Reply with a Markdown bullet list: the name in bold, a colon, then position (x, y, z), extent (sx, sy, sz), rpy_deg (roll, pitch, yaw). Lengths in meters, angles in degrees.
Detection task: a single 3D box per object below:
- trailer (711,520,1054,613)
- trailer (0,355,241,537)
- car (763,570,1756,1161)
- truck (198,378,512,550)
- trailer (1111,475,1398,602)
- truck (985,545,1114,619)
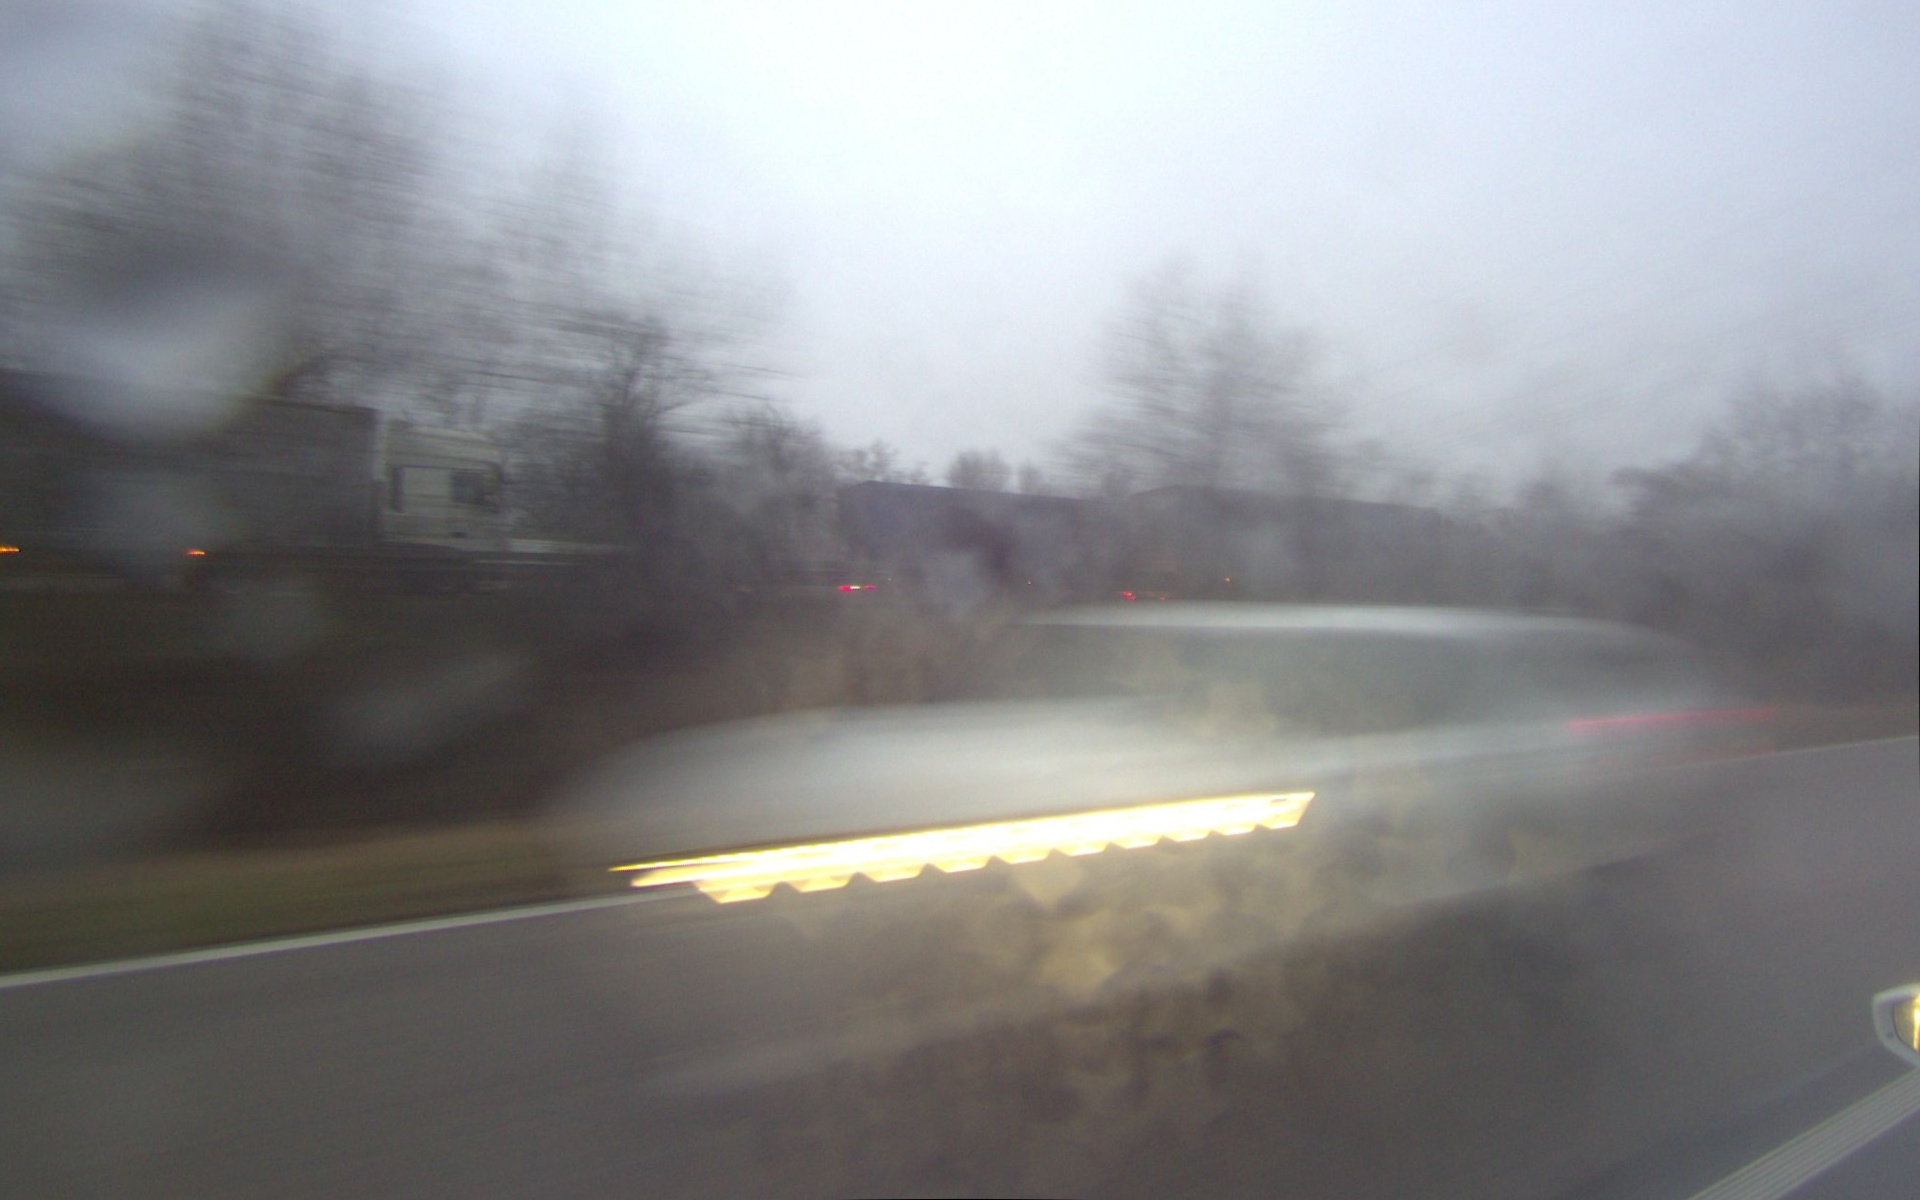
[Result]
- **trailer**: position (-2.247, -0.931, 33.142), extent (11.366, 2.456, 2.497), rpy_deg (2, -2, -30)
- **trailer**: position (-19.668, -2.958, 17.820), extent (10.956, 2.929, 2.424), rpy_deg (2, -1, -31)
- **car**: position (1.510, 0.742, 4.534), extent (4.356, 1.557, 1.799), rpy_deg (2, 0, -30)
- **truck**: position (-12.899, -2.755, 21.852), extent (5.518, 2.925, 2.438), rpy_deg (2, -1, -31)
- **trailer**: position (10.792, -1.951, 36.036), extent (11.256, 3.682, 2.983), rpy_deg (2, 0, -31)
- **truck**: position (3.245, -0.583, 36.359), extent (3.953, 2.468, 2.518), rpy_deg (2, -2, -30)
